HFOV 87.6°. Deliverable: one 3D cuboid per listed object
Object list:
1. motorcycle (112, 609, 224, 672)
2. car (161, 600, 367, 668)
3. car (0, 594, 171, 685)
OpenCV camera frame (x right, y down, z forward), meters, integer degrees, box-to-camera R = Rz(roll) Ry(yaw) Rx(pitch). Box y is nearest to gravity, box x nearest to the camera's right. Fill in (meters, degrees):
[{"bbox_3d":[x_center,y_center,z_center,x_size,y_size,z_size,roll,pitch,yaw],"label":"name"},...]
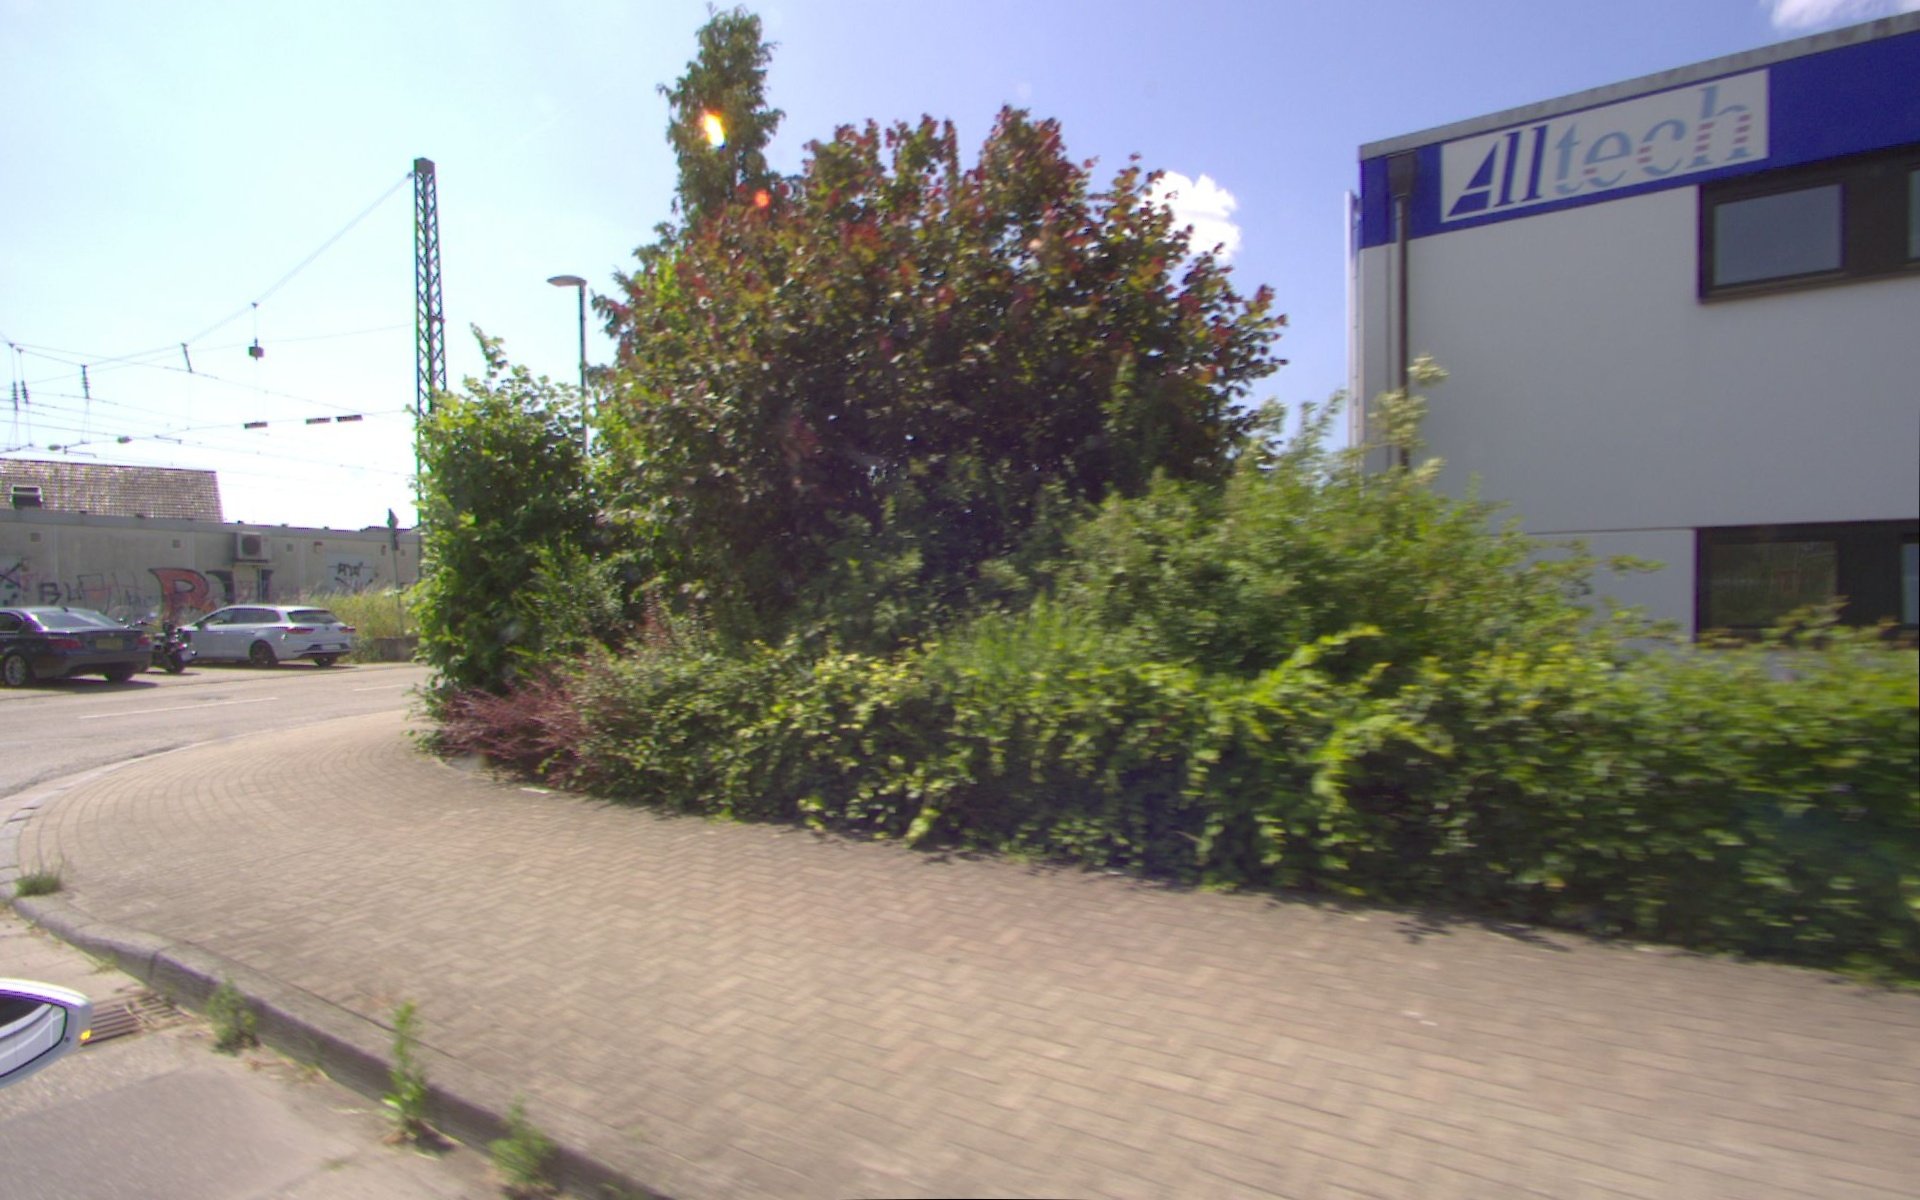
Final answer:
[{"bbox_3d":[-16.800,0.833,21.248,1.959,1.245,0.898,1,1,17],"label":"motorcycle"},{"bbox_3d":[-16.263,0.774,23.457,4.037,1.395,1.707,1,-1,14],"label":"car"},{"bbox_3d":[-17.201,0.675,18.694,3.924,1.404,1.756,3,0,12],"label":"car"}]
